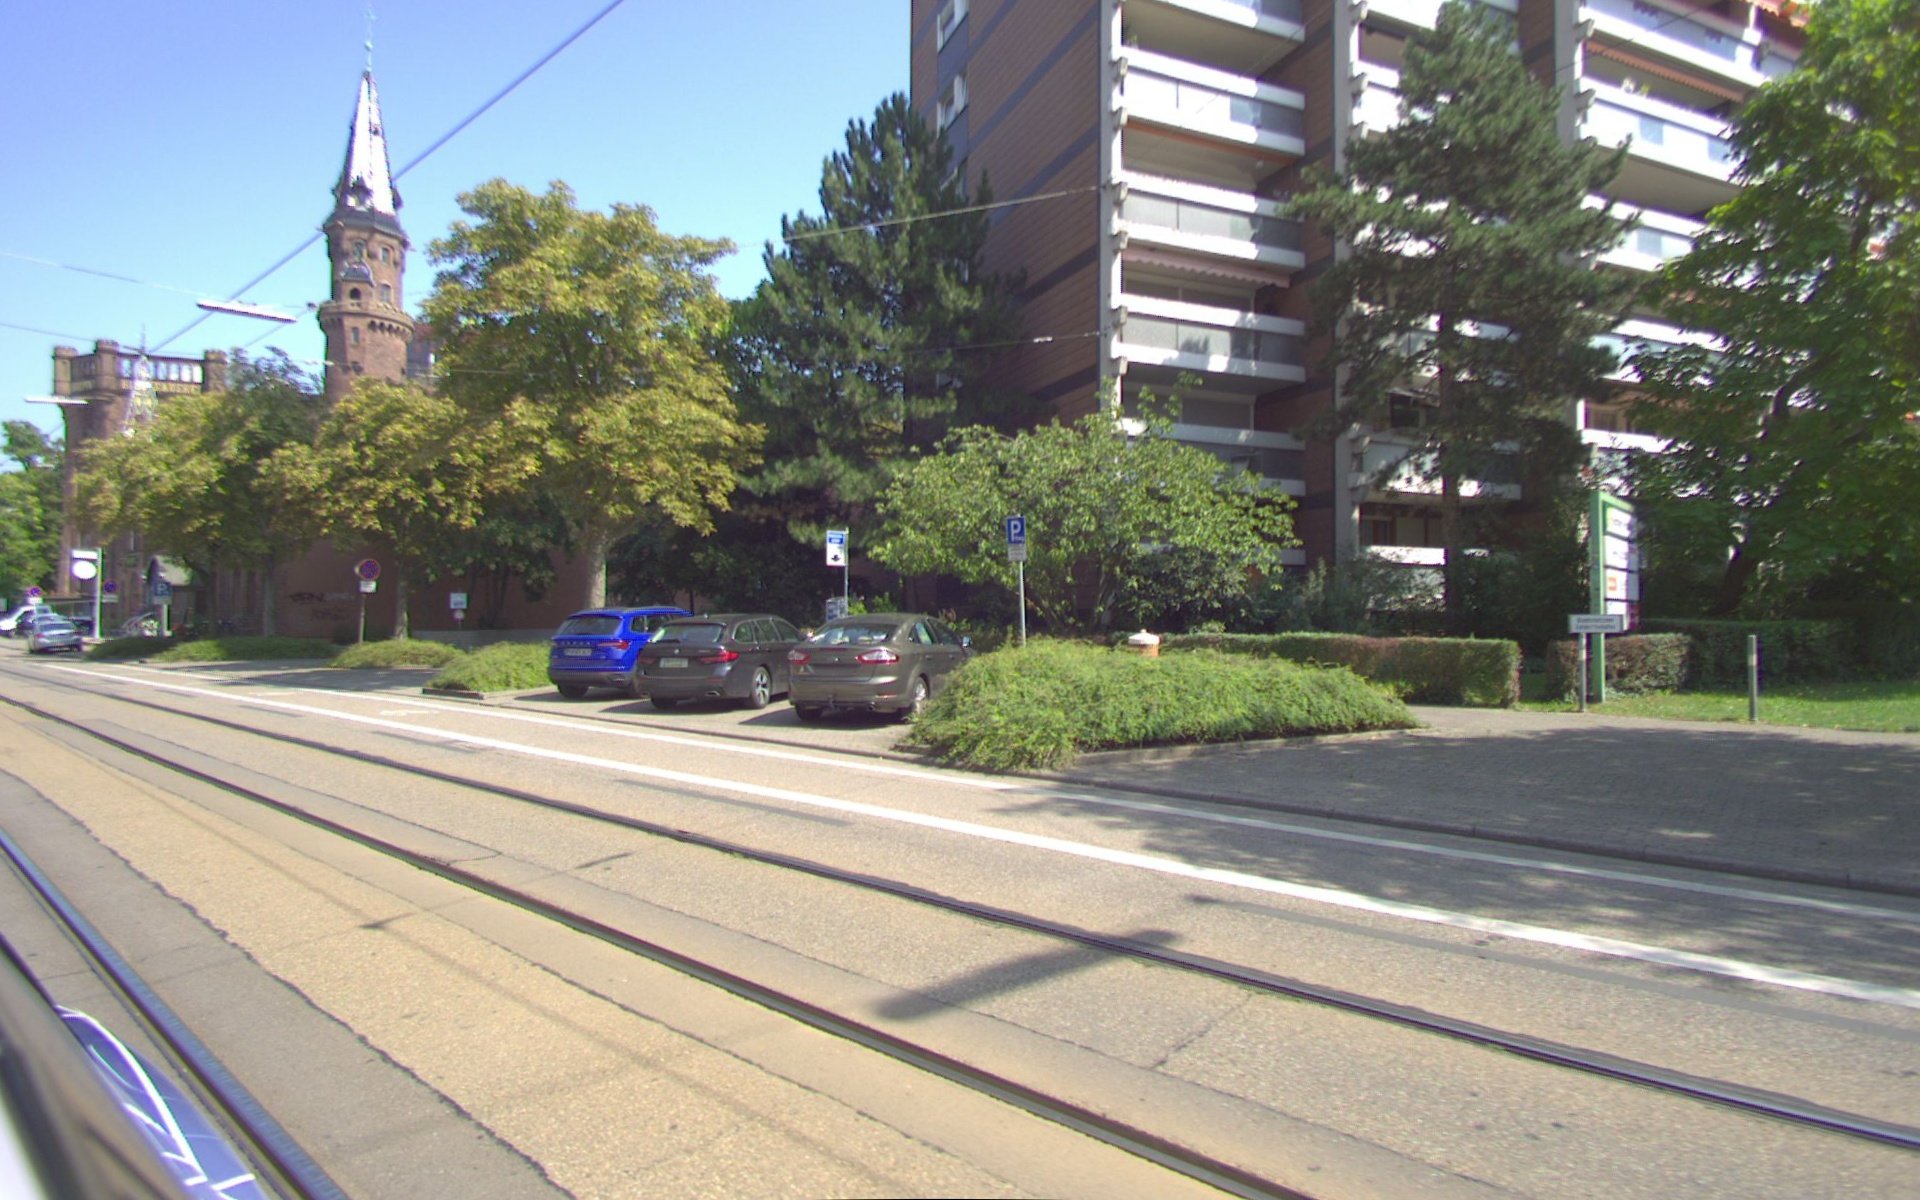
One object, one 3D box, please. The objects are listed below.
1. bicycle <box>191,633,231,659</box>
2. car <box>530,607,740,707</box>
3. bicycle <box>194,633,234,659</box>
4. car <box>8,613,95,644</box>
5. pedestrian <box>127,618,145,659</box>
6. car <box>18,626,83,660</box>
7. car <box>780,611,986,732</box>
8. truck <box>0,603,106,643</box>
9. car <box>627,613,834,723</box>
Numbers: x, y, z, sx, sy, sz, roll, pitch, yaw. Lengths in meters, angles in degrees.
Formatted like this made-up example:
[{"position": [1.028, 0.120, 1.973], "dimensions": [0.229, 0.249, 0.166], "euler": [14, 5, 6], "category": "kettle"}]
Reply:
[{"position": [-35.650, 2.168, 48.160], "dimensions": [0.376, 1.070, 1.434], "euler": [-2, 3, 30], "category": "bicycle"}, {"position": [-5.945, 0.999, 19.021], "dimensions": [1.826, 1.660, 3.977], "euler": [-1, -1, 17], "category": "car"}, {"position": [-35.378, 2.161, 47.991], "dimensions": [0.376, 1.070, 1.434], "euler": [-2, 3, 30], "category": "bicycle"}, {"position": [-64.421, 1.983, 71.776], "dimensions": [2.000, 1.811, 4.350], "euler": [-2, 2, 43], "category": "car"}, {"position": [-41.325, 1.927, 50.770], "dimensions": [0.497, 1.996, 0.520], "euler": [0, -1, -5], "category": "pedestrian"}, {"position": [-42.939, 1.984, 47.729], "dimensions": [4.514, 1.513, 1.914], "euler": [-2, -2, 43], "category": "car"}, {"position": [-0.952, 0.945, 14.963], "dimensions": [1.764, 1.508, 4.276], "euler": [-1, -1, 14], "category": "car"}, {"position": [-68.706, 1.725, 76.127], "dimensions": [2.316, 2.543, 6.429], "euler": [-2, 2, 41], "category": "truck"}, {"position": [-3.621, 1.023, 16.727], "dimensions": [1.763, 1.582, 3.982], "euler": [-1, -1, 13], "category": "car"}]
